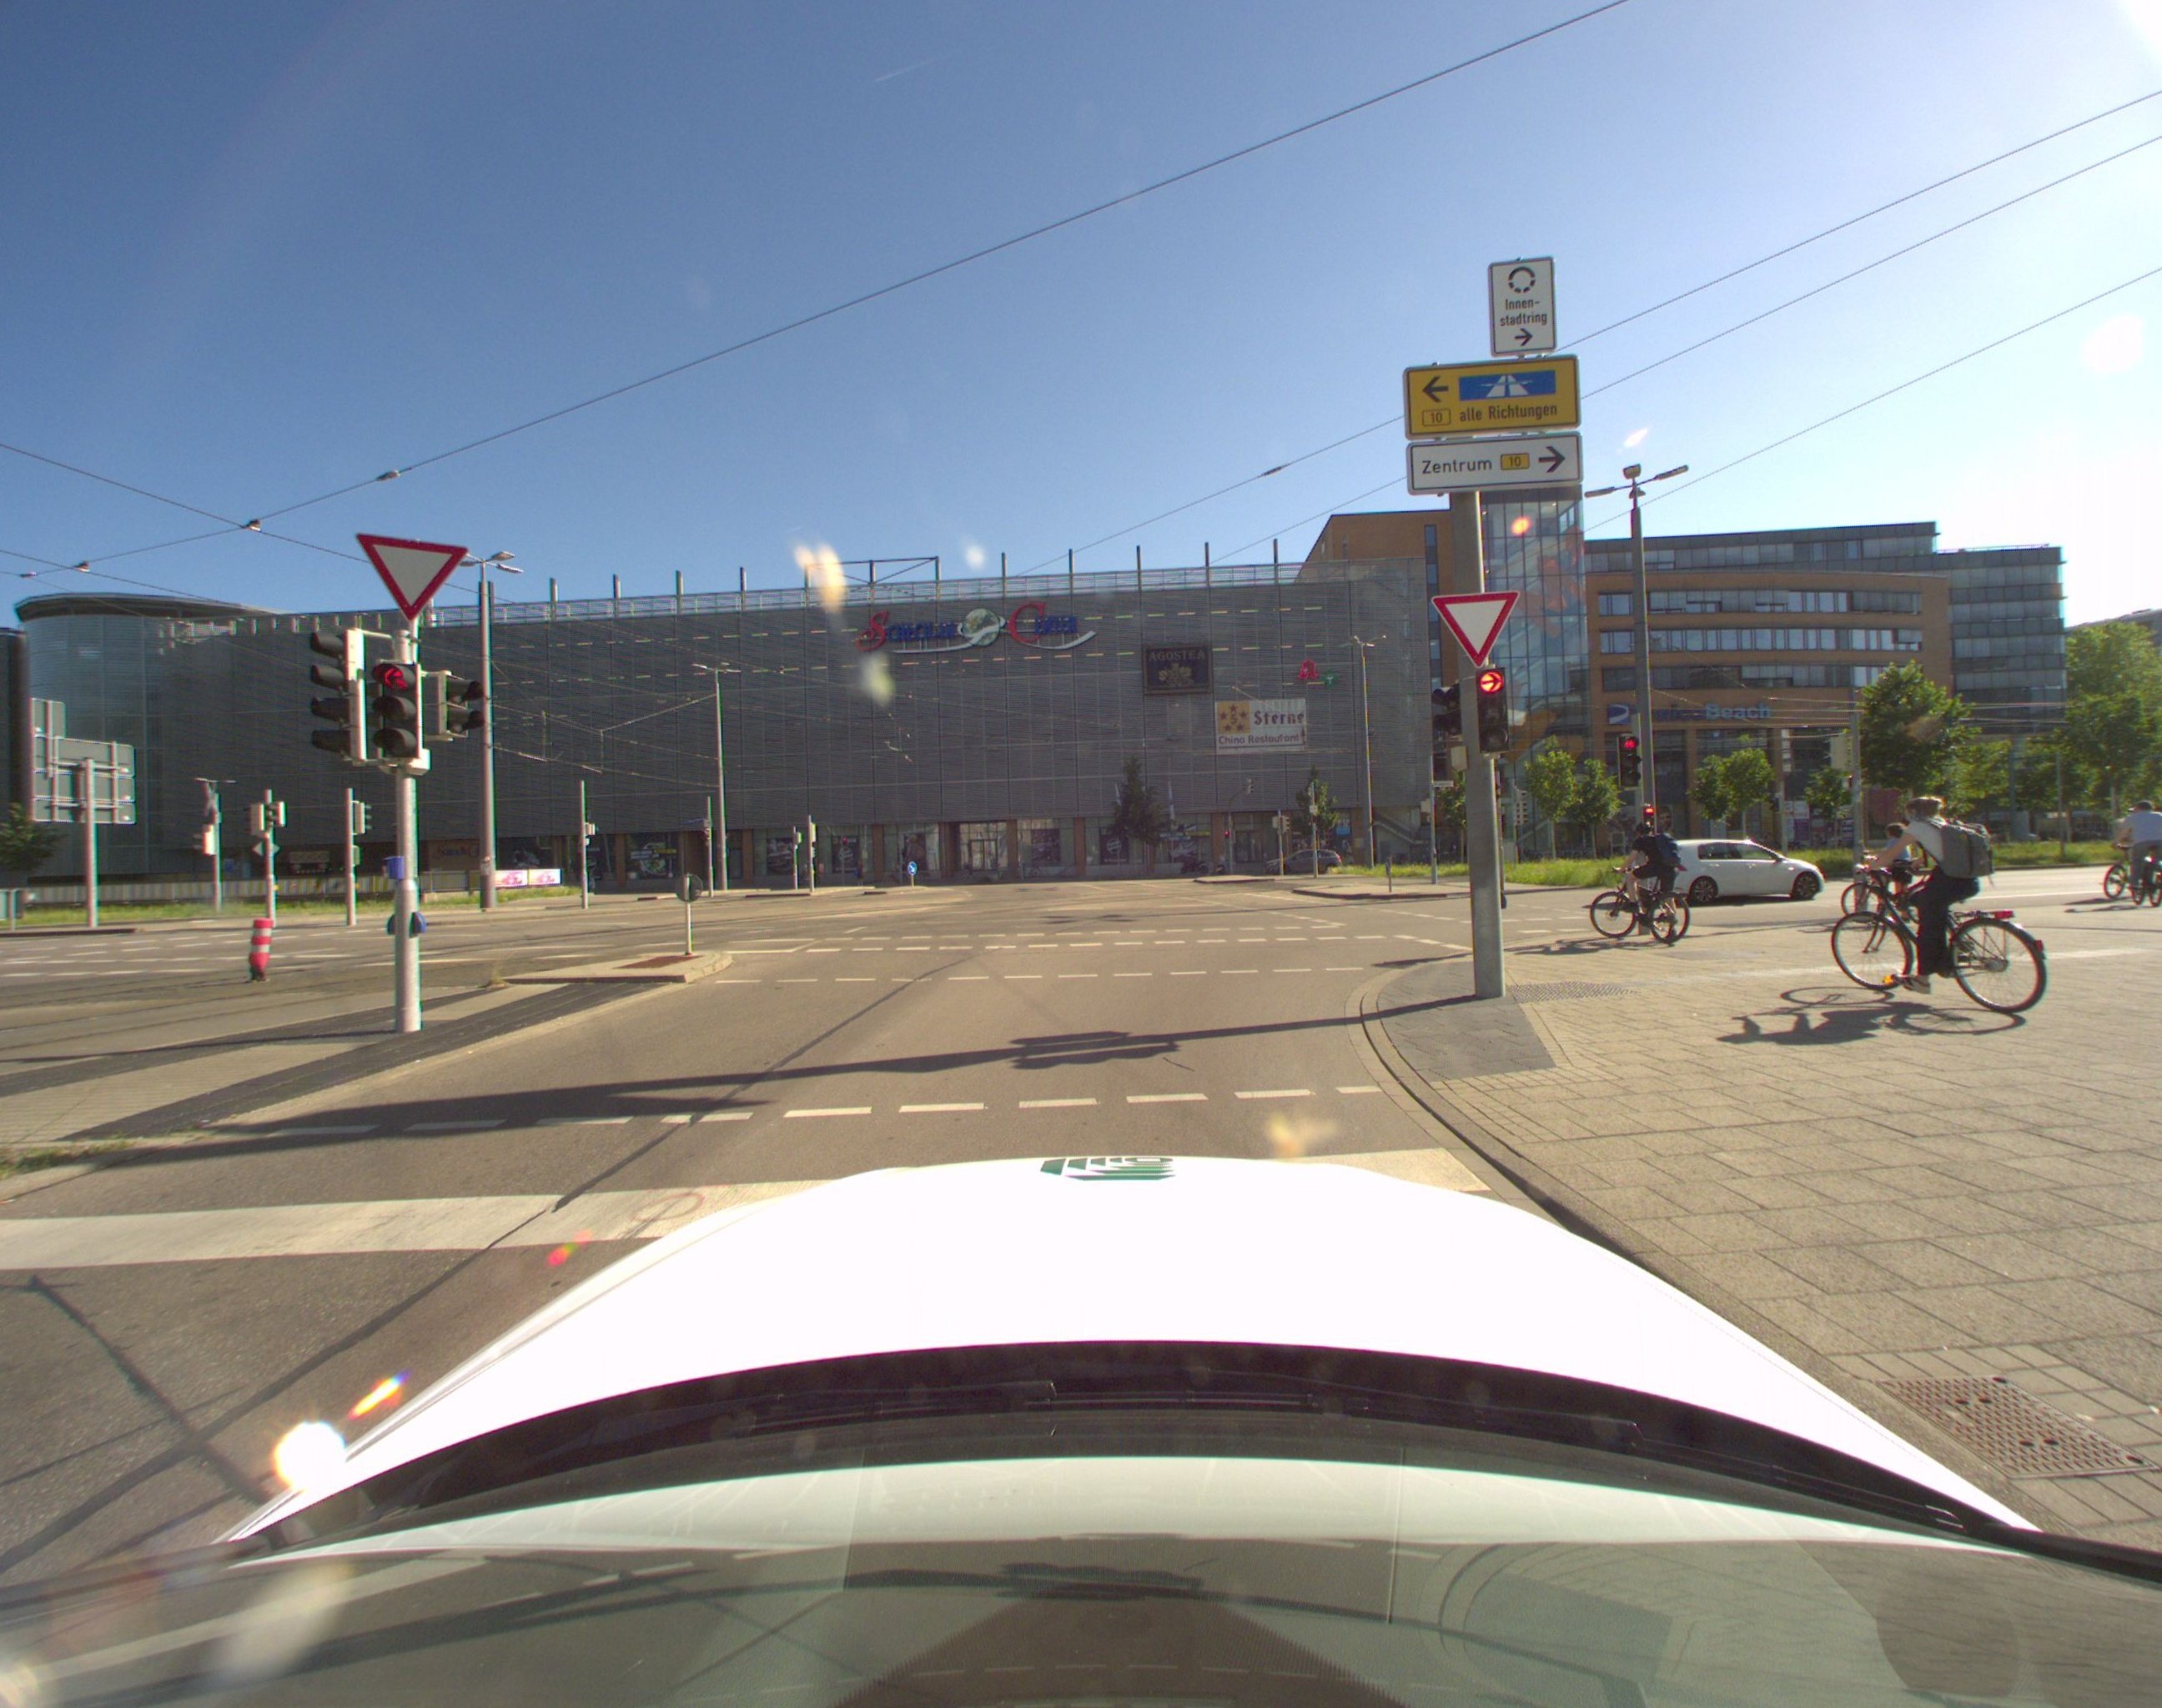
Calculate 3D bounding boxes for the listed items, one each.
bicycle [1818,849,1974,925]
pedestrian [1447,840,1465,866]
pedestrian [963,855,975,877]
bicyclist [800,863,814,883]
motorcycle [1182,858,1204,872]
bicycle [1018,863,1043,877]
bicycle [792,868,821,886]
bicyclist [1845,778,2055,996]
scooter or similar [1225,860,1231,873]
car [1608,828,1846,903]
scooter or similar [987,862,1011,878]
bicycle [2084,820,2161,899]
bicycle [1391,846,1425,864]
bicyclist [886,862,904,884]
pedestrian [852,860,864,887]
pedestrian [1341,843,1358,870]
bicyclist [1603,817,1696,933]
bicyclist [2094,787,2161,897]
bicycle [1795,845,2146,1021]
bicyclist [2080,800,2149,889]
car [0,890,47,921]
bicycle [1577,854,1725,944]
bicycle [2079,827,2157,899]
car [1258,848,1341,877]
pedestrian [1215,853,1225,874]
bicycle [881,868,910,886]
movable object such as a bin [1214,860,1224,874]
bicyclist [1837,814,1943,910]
[{"bbox_3d":[12.638,0.482,12.710,0.664,1.072,1.822,-2,0,4],"label":"bicycle"},{"bbox_3d":[27.884,-0.075,60.567,1.022,1.828,1.022,-3,0,33],"label":"pedestrian"},{"bbox_3d":[-8.377,0.891,60.793,0.654,1.601,0.597,-1,-1,20],"label":"pedestrian"},{"bbox_3d":[-19.960,1.382,59.422,0.750,1.386,0.566,-2,1,1],"label":"bicyclist"},{"bbox_3d":[8.322,0.823,60.604,1.630,1.004,0.448,0,0,8],"label":"motorcycle"},{"bbox_3d":[-3.772,1.167,60.800,1.815,0.989,0.556,-2,1,-8],"label":"bicycle"},{"bbox_3d":[-20.033,1.644,59.437,1.850,1.217,0.569,-2,1,1],"label":"bicycle"},{"bbox_3d":[7.030,0.255,6.651,0.663,1.629,0.973,-2,-1,7],"label":"bicyclist"},{"bbox_3d":[9.929,0.862,55.015,0.293,0.873,1.007,-1,-1,12],"label":"scooter or similar"},{"bbox_3d":[14.739,0.237,18.688,4.280,1.472,1.860,-2,0,-8],"label":"car"},{"bbox_3d":[-6.174,1.197,61.241,1.790,1.066,0.611,-2,1,-6],"label":"scooter or similar"},{"bbox_3d":[18.627,0.081,14.268,2.157,1.301,0.753,-1,-1,-24],"label":"bicycle"},{"bbox_3d":[24.352,0.102,60.625,2.247,1.296,0.606,0,-1,0],"label":"bicycle"},{"bbox_3d":[-12.619,1.269,55.248,0.667,1.427,0.855,-1,2,45],"label":"bicyclist"},{"bbox_3d":[-15.193,1.305,55.472,0.695,1.797,0.727,-3,0,-14],"label":"pedestrian"},{"bbox_3d":[19.176,0.172,58.171,0.945,1.829,0.847,-3,-4,7],"label":"pedestrian"},{"bbox_3d":[8.343,0.298,11.986,0.627,1.629,0.971,-2,-1,-1],"label":"bicyclist"},{"bbox_3d":[18.576,-0.196,14.280,0.751,1.866,0.803,-1,-2,-26],"label":"bicyclist"},{"bbox_3d":[7.039,0.548,6.662,0.663,1.197,2.158,-2,0,7],"label":"bicycle"},{"bbox_3d":[20.892,-0.199,16.484,1.100,1.725,0.707,-4,1,-44],"label":"bicyclist"},{"bbox_3d":[-69.464,3.342,52.088,4.311,1.863,1.841,-1,-1,1],"label":"car"},{"bbox_3d":[8.364,0.614,12.094,0.634,1.197,2.153,-2,0,-1],"label":"bicycle"},{"bbox_3d":[20.797,0.158,16.368,1.759,1.327,0.707,-4,0,-45],"label":"bicycle"},{"bbox_3d":[12.204,0.489,45.619,4.132,1.470,1.841,2,-1,0],"label":"car"},{"bbox_3d":[9.414,0.623,55.210,0.650,1.414,0.853,-1,-1,12],"label":"pedestrian"},{"bbox_3d":[-12.576,1.579,55.320,0.562,1.086,1.874,-1,2,45],"label":"bicycle"},{"bbox_3d":[9.281,0.874,54.747,0.608,0.904,0.972,-1,-1,12],"label":"movable object such as a bin"},{"bbox_3d":[12.690,0.143,12.802,0.664,1.436,0.941,-2,-3,4],"label":"bicyclist"}]
